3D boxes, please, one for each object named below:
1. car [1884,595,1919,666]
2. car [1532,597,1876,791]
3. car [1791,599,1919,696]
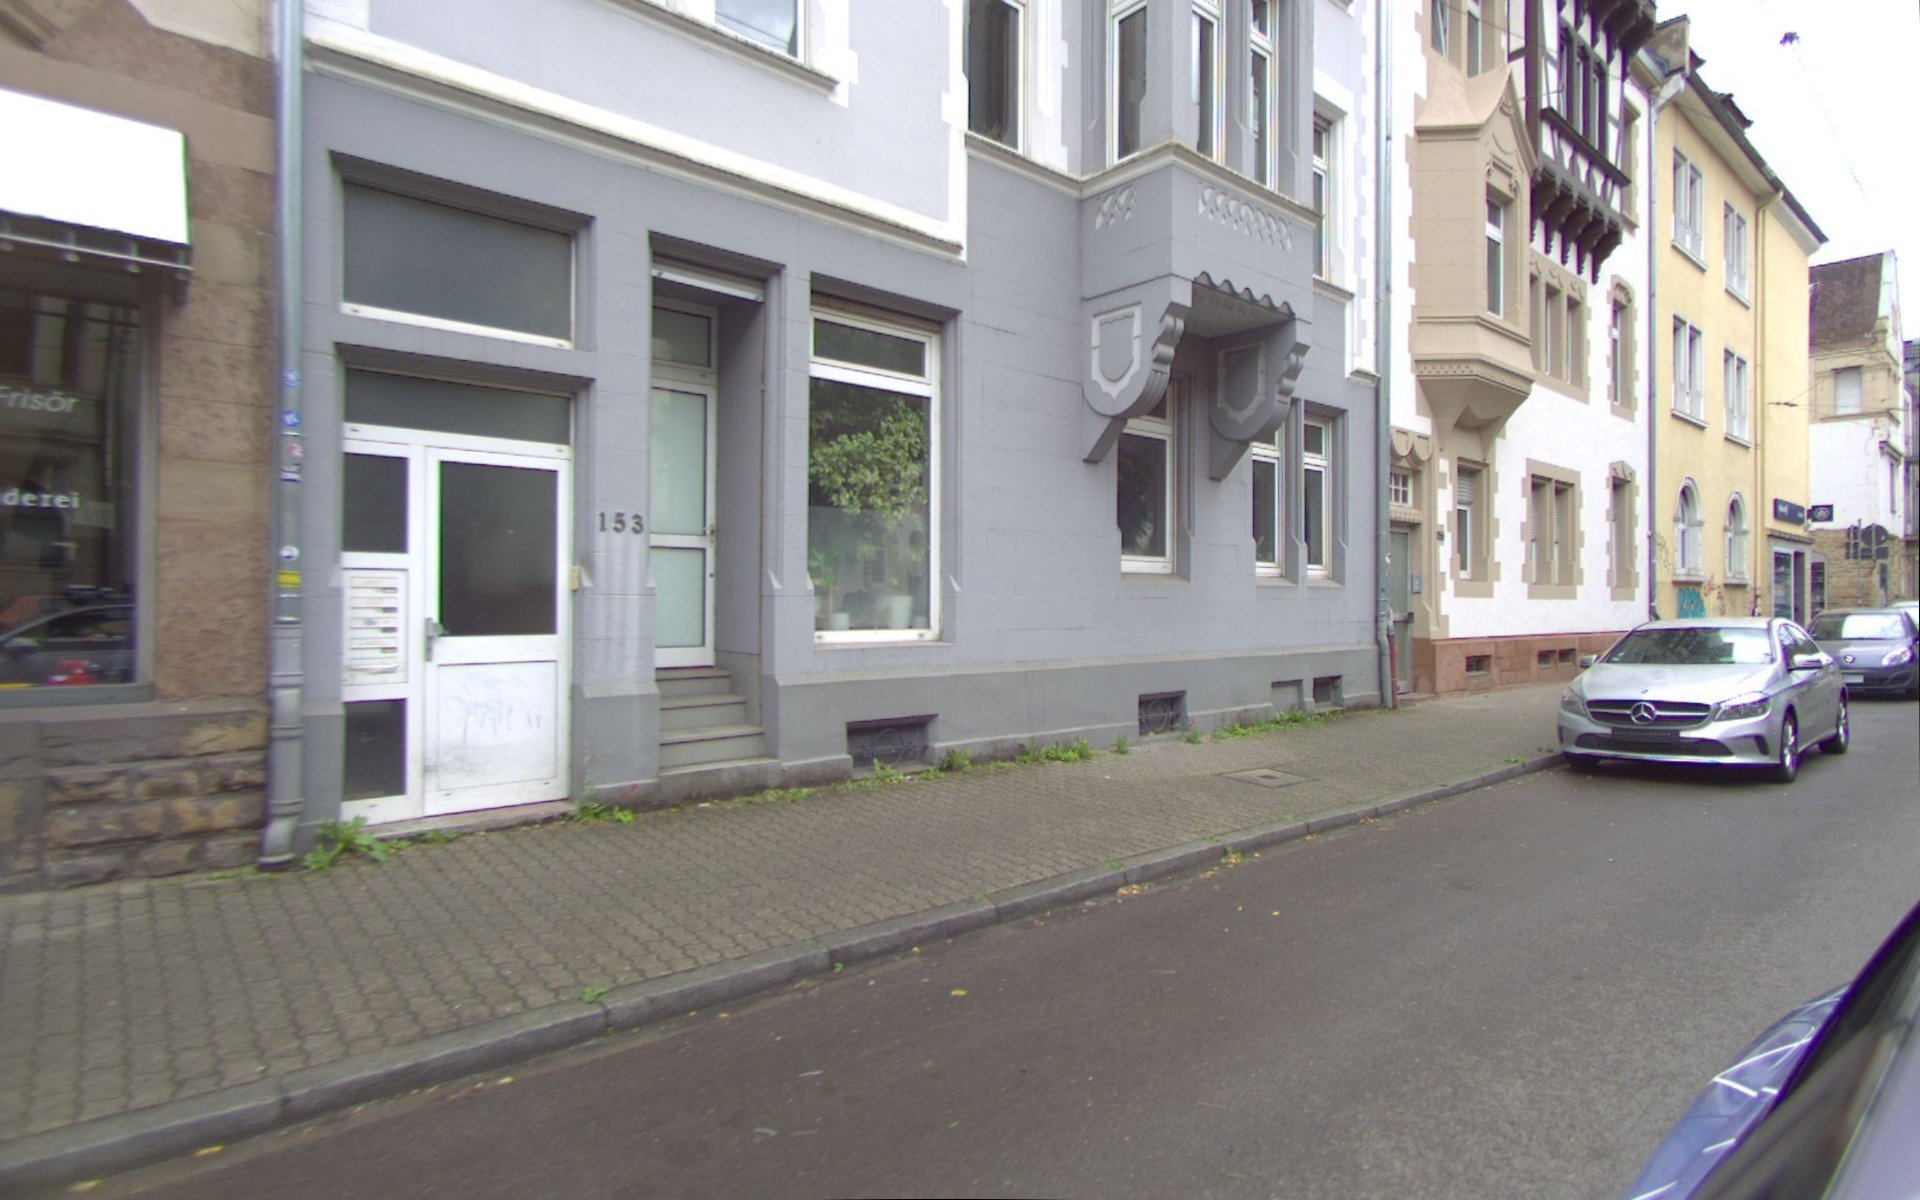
[{"bbox_3d":[23.327,0.682,24.013,4.141,1.548,1.633,-1,0,-42],"label":"car"},{"bbox_3d":[7.492,0.785,10.047,4.139,1.533,1.791,0,-3,-40],"label":"car"},{"bbox_3d":[15.879,0.770,17.506,4.140,1.507,1.633,0,-3,-41],"label":"car"}]
